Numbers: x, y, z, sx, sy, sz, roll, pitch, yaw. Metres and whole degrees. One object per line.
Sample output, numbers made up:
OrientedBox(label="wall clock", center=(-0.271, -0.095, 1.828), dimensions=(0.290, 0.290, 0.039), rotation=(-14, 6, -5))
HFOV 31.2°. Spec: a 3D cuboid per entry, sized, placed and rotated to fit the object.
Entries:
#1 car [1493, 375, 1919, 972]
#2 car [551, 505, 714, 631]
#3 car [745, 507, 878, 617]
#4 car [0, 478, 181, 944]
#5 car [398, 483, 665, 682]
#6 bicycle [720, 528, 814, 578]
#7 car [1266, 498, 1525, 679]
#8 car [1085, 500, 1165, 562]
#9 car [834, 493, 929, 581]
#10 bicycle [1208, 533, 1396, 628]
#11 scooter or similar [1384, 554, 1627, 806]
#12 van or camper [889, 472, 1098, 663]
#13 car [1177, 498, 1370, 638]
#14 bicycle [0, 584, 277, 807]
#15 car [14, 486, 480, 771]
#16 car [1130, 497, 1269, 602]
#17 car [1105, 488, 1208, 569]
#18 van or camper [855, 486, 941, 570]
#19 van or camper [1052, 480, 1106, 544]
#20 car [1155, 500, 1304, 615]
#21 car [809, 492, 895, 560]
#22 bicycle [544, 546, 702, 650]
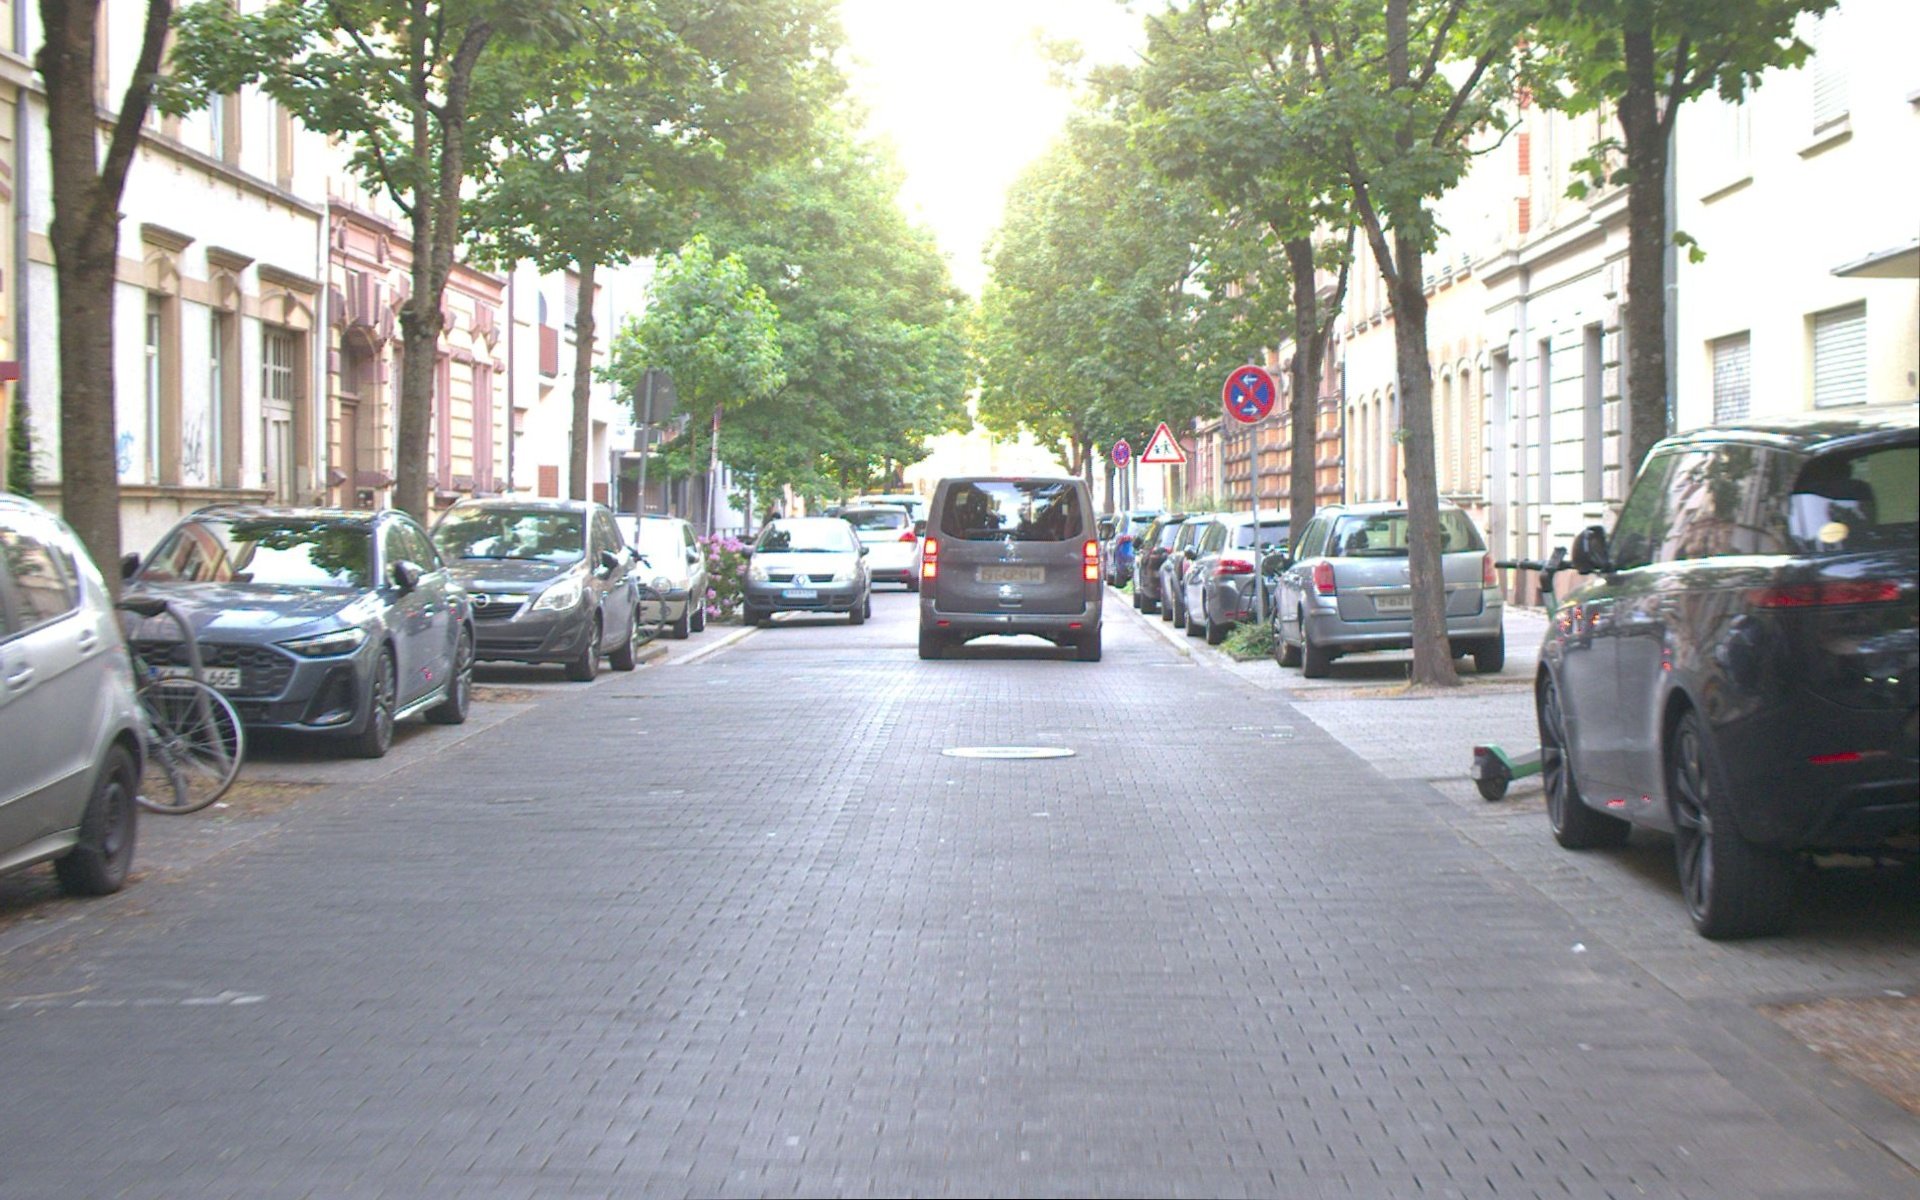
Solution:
OrientedBox(label="car", center=(3.410, 0.125, 13.061), dimensions=(2.013, 1.827, 4.811), rotation=(-2, 2, 1))
OrientedBox(label="car", center=(-3.935, -0.421, 41.766), dimensions=(1.587, 1.432, 3.566), rotation=(1, 2, 0))
OrientedBox(label="car", center=(-1.975, -0.544, 46.533), dimensions=(1.580, 1.415, 3.753), rotation=(-1, 2, 1))
OrientedBox(label="car", center=(-4.120, 0.362, 12.177), dimensions=(1.676, 1.602, 3.861), rotation=(1, 2, 3))
OrientedBox(label="car", center=(-3.686, -0.214, 30.197), dimensions=(1.706, 1.575, 4.078), rotation=(1, 2, 2))
OrientedBox(label="bicycle", center=(-3.505, -0.852, 62.368), dimensions=(1.699, 0.904, 0.384), rotation=(0, 1, -29))
OrientedBox(label="car", center=(3.788, -0.157, 30.540), dimensions=(1.758, 1.458, 4.308), rotation=(-1, 2, 0))
OrientedBox(label="car", center=(3.949, -1.676, 82.630), dimensions=(1.693, 1.396, 4.646), rotation=(-1, 2, 0))
OrientedBox(label="car", center=(-1.485, -1.188, 63.848), dimensions=(1.663, 1.557, 4.001), rotation=(-1, 2, -2))
OrientedBox(label="bicycle", center=(3.657, -0.216, 36.780), dimensions=(1.915, 0.978, 0.638), rotation=(-1, 2, -20))
OrientedBox(label="scooter or similar", center=(2.754, 0.389, 17.313), dimensions=(0.675, 1.186, 1.113), rotation=(-2, 1, 41))
OrientedBox(label="van or camper", center=(0.416, -0.382, 36.256), dimensions=(2.035, 1.891, 4.271), rotation=(0, 1, 3))
OrientedBox(label="car", center=(3.557, -0.416, 39.678), dimensions=(1.716, 1.471, 4.369), rotation=(-2, 2, -1))
OrientedBox(label="bicycle", center=(-4.249, 0.454, 16.843), dimensions=(1.684, 1.000, 0.430), rotation=(3, 2, 3))
OrientedBox(label="car", center=(-4.215, 0.090, 21.080), dimensions=(1.806, 1.512, 4.685), rotation=(1, 2, 1))
OrientedBox(label="car", center=(3.467, -0.768, 50.336), dimensions=(1.766, 1.410, 4.474), rotation=(-2, 2, 1))
OrientedBox(label="car", center=(3.697, -1.378, 65.295), dimensions=(1.627, 1.461, 4.246), rotation=(-1, 2, -1))
OrientedBox(label="van or camper", center=(-1.420, -1.675, 79.107), dimensions=(1.876, 1.836, 4.753), rotation=(-1, 2, -1))
OrientedBox(label="van or camper", center=(4.874, -3.651, 141.855), dimensions=(1.993, 2.590, 5.425), rotation=(0, 1, 0))
OrientedBox(label="car", center=(3.508, -0.585, 45.288), dimensions=(1.635, 1.419, 3.565), rotation=(-1, 2, 0))
OrientedBox(label="car", center=(-2.754, -1.926, 88.644), dimensions=(1.993, 1.641, 4.922), rotation=(1, 2, 1))
OrientedBox(label="bicycle", center=(-3.650, -0.032, 37.137), dimensions=(1.827, 1.081, 0.667), rotation=(1, 1, 44))
